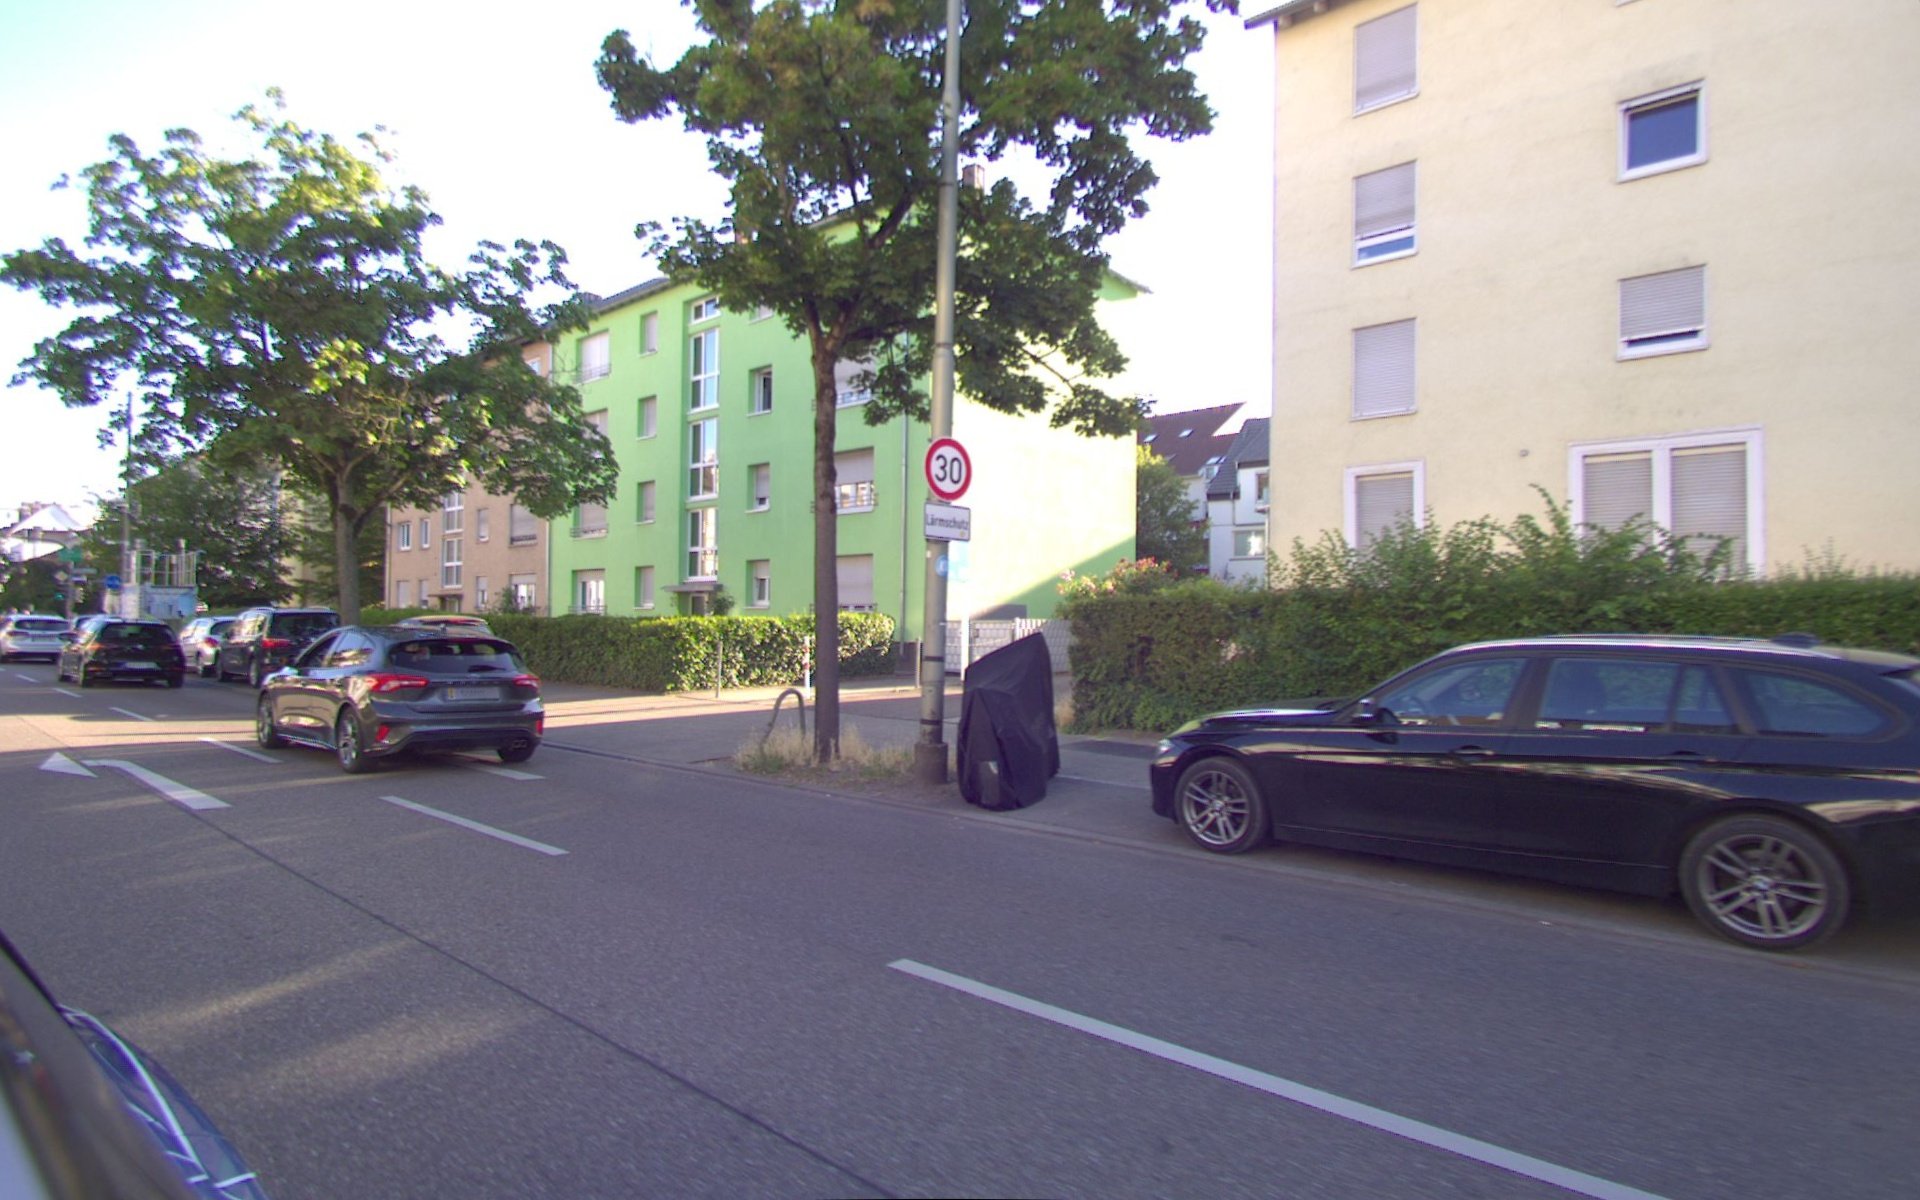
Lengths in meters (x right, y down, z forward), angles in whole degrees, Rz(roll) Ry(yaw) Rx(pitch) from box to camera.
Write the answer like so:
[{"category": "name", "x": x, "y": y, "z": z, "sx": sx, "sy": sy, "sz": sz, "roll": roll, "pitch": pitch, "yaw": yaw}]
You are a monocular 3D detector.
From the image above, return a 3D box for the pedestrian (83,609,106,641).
[{"category": "pedestrian", "x": -46.452, "y": 1.349, "z": 54.330, "sx": 0.598, "sy": 1.641, "sz": 0.752, "roll": -2, "pitch": 2, "yaw": -12}]

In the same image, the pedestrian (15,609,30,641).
[{"category": "pedestrian", "x": -59.530, "y": 1.577, "z": 64.253, "sx": 0.814, "sy": 2.029, "sz": 0.637, "roll": 1, "pitch": 0, "yaw": 42}]

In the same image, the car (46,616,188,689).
[{"category": "car", "x": -18.246, "y": 1.095, "z": 21.856, "sx": 4.026, "sy": 1.414, "sz": 1.682, "roll": -1, "pitch": -3, "yaw": 41}]

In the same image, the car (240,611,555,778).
[{"category": "car", "x": -6.280, "y": 0.891, "z": 11.080, "sx": 4.293, "sy": 1.482, "sz": 1.682, "roll": -1, "pitch": -3, "yaw": 42}]

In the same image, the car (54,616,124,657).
[{"category": "car", "x": -34.053, "y": 1.397, "z": 39.539, "sx": 3.943, "sy": 1.490, "sz": 1.635, "roll": -1, "pitch": -2, "yaw": 43}]

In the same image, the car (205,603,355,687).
[{"category": "car", "x": -15.676, "y": 0.969, "z": 23.229, "sx": 4.616, "sy": 1.746, "sz": 1.765, "roll": -1, "pitch": -2, "yaw": 42}]

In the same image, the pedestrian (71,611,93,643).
[{"category": "pedestrian", "x": -47.270, "y": 1.441, "z": 54.471, "sx": 0.607, "sy": 1.670, "sz": 0.741, "roll": 0, "pitch": -1, "yaw": 34}]

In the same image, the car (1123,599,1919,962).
[{"category": "car", "x": 3.389, "y": 0.781, "z": 6.036, "sx": 4.588, "sy": 1.516, "sz": 1.759, "roll": -1, "pitch": -1, "yaw": 43}]

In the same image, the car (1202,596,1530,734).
[{"category": "car", "x": 5.700, "y": 0.812, "z": 14.461, "sx": 3.998, "sy": 1.695, "sz": 1.808, "roll": 0, "pitch": -1, "yaw": 41}]

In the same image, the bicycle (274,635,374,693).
[{"category": "bicycle", "x": -13.067, "y": 1.293, "z": 20.826, "sx": 0.560, "sy": 1.097, "sz": 1.657, "roll": -1, "pitch": 0, "yaw": 43}]

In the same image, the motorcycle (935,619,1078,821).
[{"category": "motorcycle", "x": 0.453, "y": 0.892, "z": 8.446, "sx": 0.980, "sy": 1.399, "sz": 2.022, "roll": 0, "pitch": 1, "yaw": 9}]

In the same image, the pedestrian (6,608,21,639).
[{"category": "pedestrian", "x": -60.824, "y": 1.506, "z": 65.042, "sx": 0.739, "sy": 2.029, "sz": 0.631, "roll": -1, "pitch": -2, "yaw": 42}]

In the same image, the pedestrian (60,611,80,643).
[{"category": "pedestrian", "x": -46.471, "y": 1.410, "z": 52.819, "sx": 0.749, "sy": 1.606, "sz": 0.601, "roll": 0, "pitch": 3, "yaw": 38}]

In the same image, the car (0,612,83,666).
[{"category": "car", "x": -28.558, "y": 1.175, "z": 31.016, "sx": 4.448, "sy": 1.482, "sz": 1.813, "roll": -1, "pitch": -4, "yaw": 40}]

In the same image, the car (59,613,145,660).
[{"category": "car", "x": -30.631, "y": 1.269, "z": 36.094, "sx": 3.781, "sy": 1.564, "sz": 1.621, "roll": -1, "pitch": -1, "yaw": 39}]

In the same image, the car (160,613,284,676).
[{"category": "car", "x": -19.440, "y": 1.114, "z": 26.592, "sx": 4.187, "sy": 1.532, "sz": 1.665, "roll": -1, "pitch": -1, "yaw": 40}]

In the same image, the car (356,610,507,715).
[{"category": "car", "x": -9.099, "y": 0.998, "z": 17.347, "sx": 2.862, "sy": 1.629, "sz": 1.482, "roll": -1, "pitch": -1, "yaw": 44}]

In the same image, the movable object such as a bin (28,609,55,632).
[{"category": "movable object such as a bin", "x": -69.722, "y": 1.558, "z": 76.813, "sx": 1.180, "sy": 1.670, "sz": 1.292, "roll": 1, "pitch": 3, "yaw": 41}]
